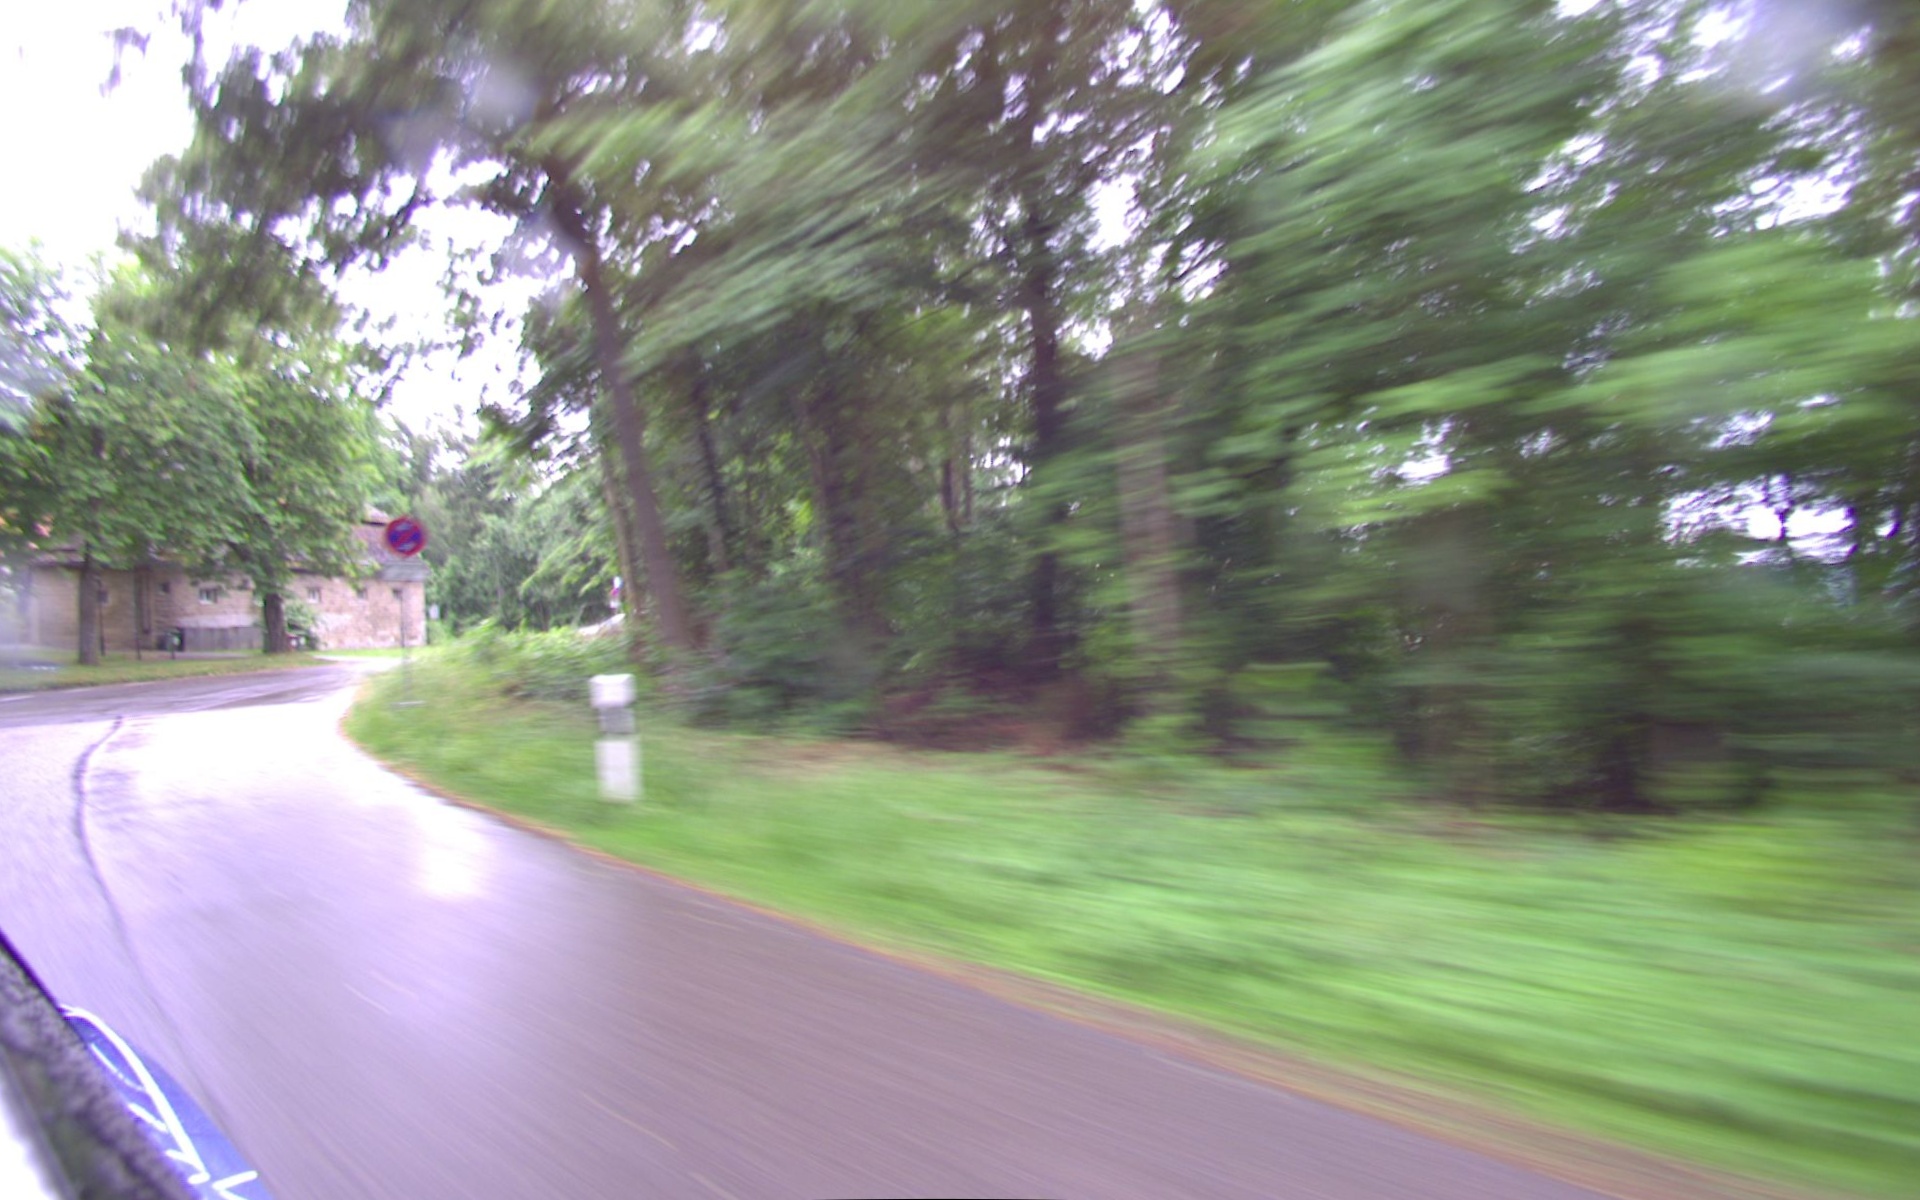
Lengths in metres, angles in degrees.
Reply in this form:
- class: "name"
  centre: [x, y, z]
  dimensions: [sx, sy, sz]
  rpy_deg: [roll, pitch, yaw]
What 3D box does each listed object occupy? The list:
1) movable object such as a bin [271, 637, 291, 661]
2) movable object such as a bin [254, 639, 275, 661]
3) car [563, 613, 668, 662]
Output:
- class: "movable object such as a bin"
  centre: [-31.798, 2.289, 47.404]
  dimensions: [0.622, 1.083, 0.763]
  rpy_deg: [-1, -1, -19]
- class: "movable object such as a bin"
  centre: [-31.914, 2.276, 46.461]
  dimensions: [0.622, 0.961, 0.763]
  rpy_deg: [-1, -1, -19]
- class: "car"
  centre: [-14.935, 1.652, 44.042]
  dimensions: [3.939, 2.029, 2.002]
  rpy_deg: [1, -3, -4]
